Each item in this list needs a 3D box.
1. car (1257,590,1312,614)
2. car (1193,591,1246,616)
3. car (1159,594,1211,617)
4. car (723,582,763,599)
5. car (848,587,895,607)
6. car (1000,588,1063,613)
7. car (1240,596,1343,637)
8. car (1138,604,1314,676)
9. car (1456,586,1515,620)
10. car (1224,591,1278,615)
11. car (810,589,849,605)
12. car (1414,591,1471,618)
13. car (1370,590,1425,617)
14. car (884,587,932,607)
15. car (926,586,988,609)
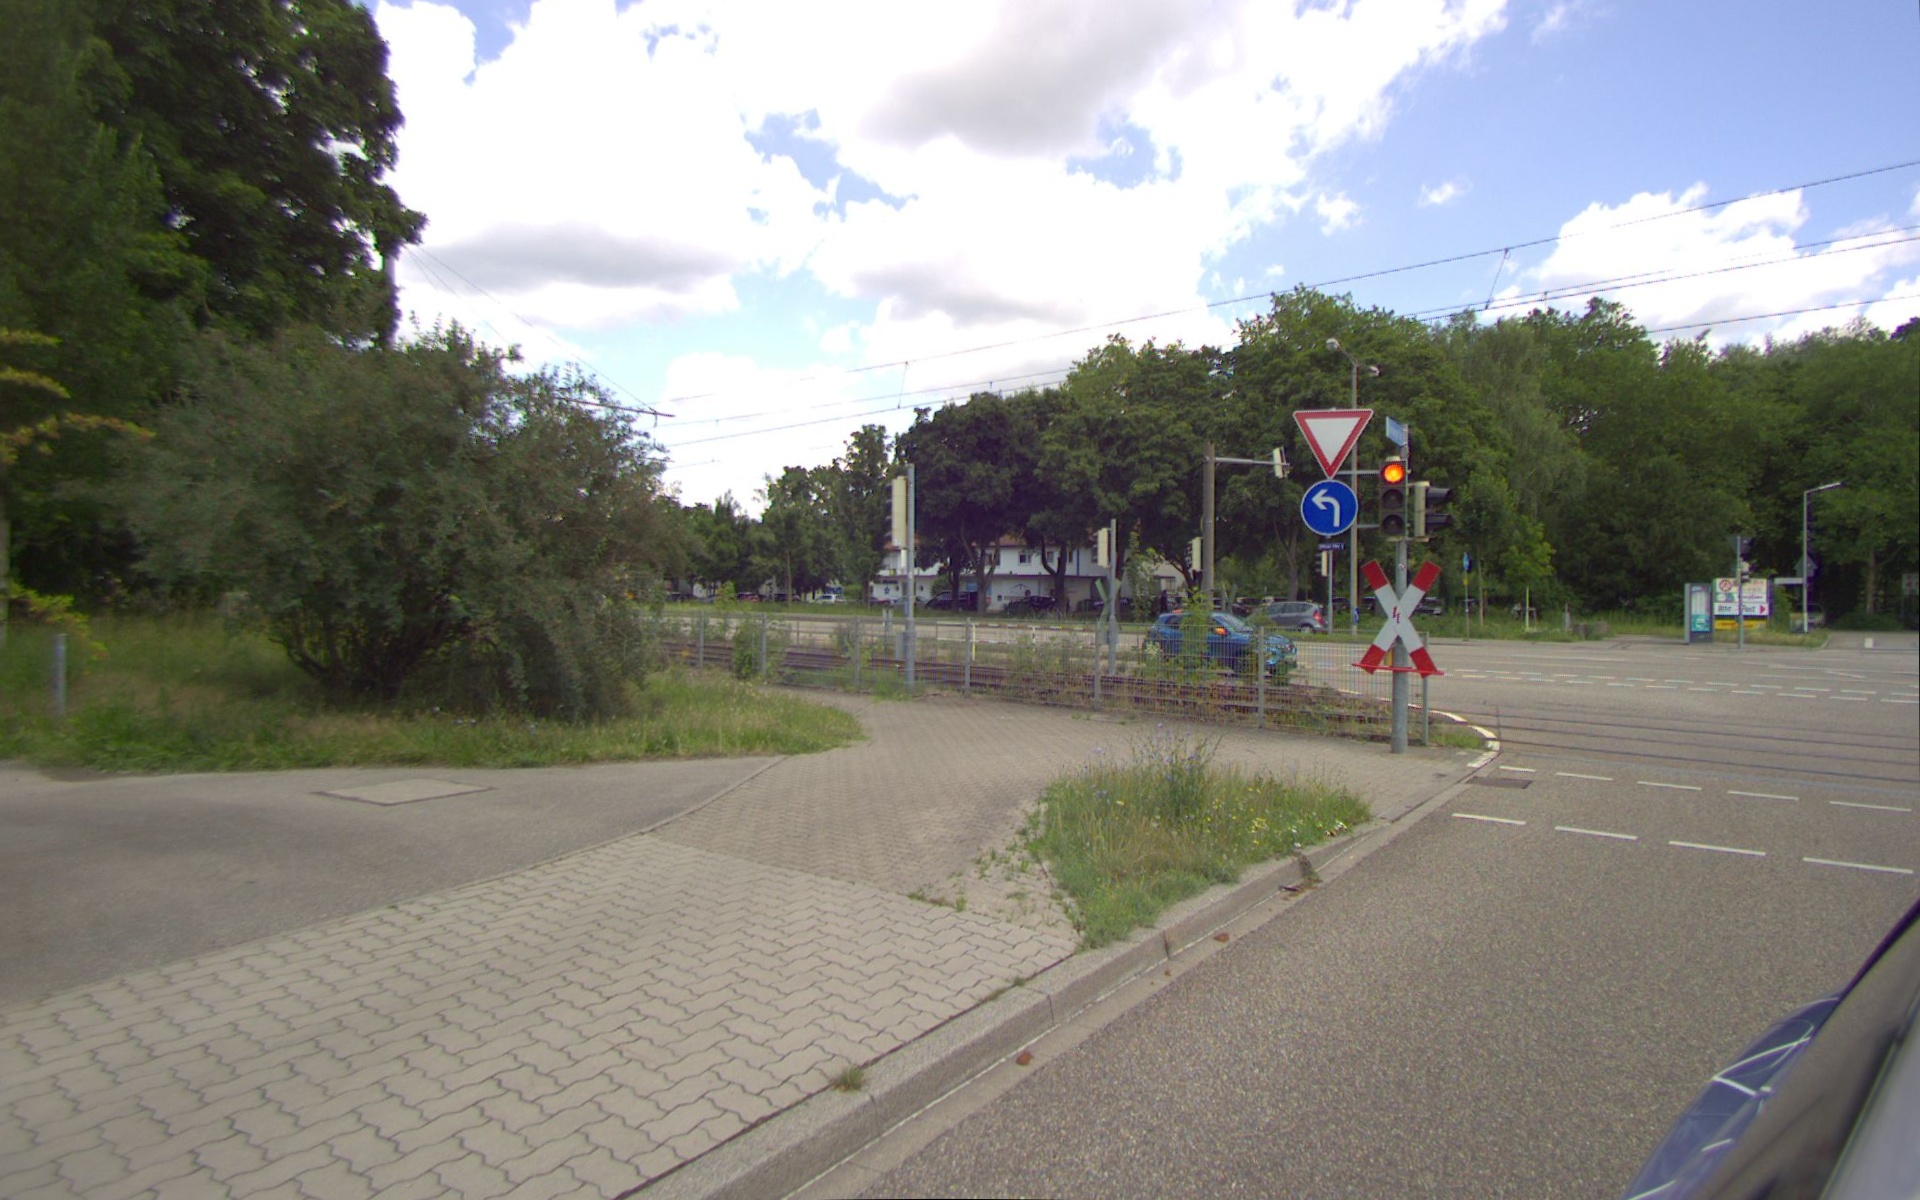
[{"bbox_3d":[22.445,0.134,70.145,1.958,1.564,4.030,1,0,-11],"label":"car"},{"bbox_3d":[17.711,0.227,69.185,1.958,1.607,4.030,1,0,-11],"label":"car"},{"bbox_3d":[15.204,0.368,68.577,1.958,1.502,4.030,0,0,-11],"label":"car"},{"bbox_3d":[-21.096,-0.904,98.347,4.009,1.608,1.969,1,0,44],"label":"car"},{"bbox_3d":[-7.517,-0.283,85.719,4.009,1.608,1.736,1,0,44],"label":"car"},{"bbox_3d":[5.296,0.016,74.778,4.331,1.678,1.792,1,2,33],"label":"car"},{"bbox_3d":[13.914,0.646,42.594,3.755,1.614,1.765,1,0,40],"label":"car"},{"bbox_3d":[6.086,0.871,23.443,1.578,1.482,3.696,1,0,-42],"label":"car"},{"bbox_3d":[33.372,0.173,64.244,3.930,2.039,1.997,0,0,-41],"label":"car"},{"bbox_3d":[20.014,0.253,69.800,1.958,1.608,4.029,1,-1,-11],"label":"car"},{"bbox_3d":[-11.562,-0.280,89.471,3.465,1.348,1.601,1,0,44],"label":"car"},{"bbox_3d":[31.991,0.275,67.065,4.053,1.731,1.817,0,0,-39],"label":"car"},{"bbox_3d":[29.751,0.233,68.785,4.053,1.749,1.817,0,0,-39],"label":"car"},{"bbox_3d":[-4.288,-0.245,83.090,3.654,1.608,1.892,1,0,44],"label":"car"},{"bbox_3d":[-0.265,-0.217,78.993,4.913,1.732,1.859,1,0,44],"label":"car"}]
